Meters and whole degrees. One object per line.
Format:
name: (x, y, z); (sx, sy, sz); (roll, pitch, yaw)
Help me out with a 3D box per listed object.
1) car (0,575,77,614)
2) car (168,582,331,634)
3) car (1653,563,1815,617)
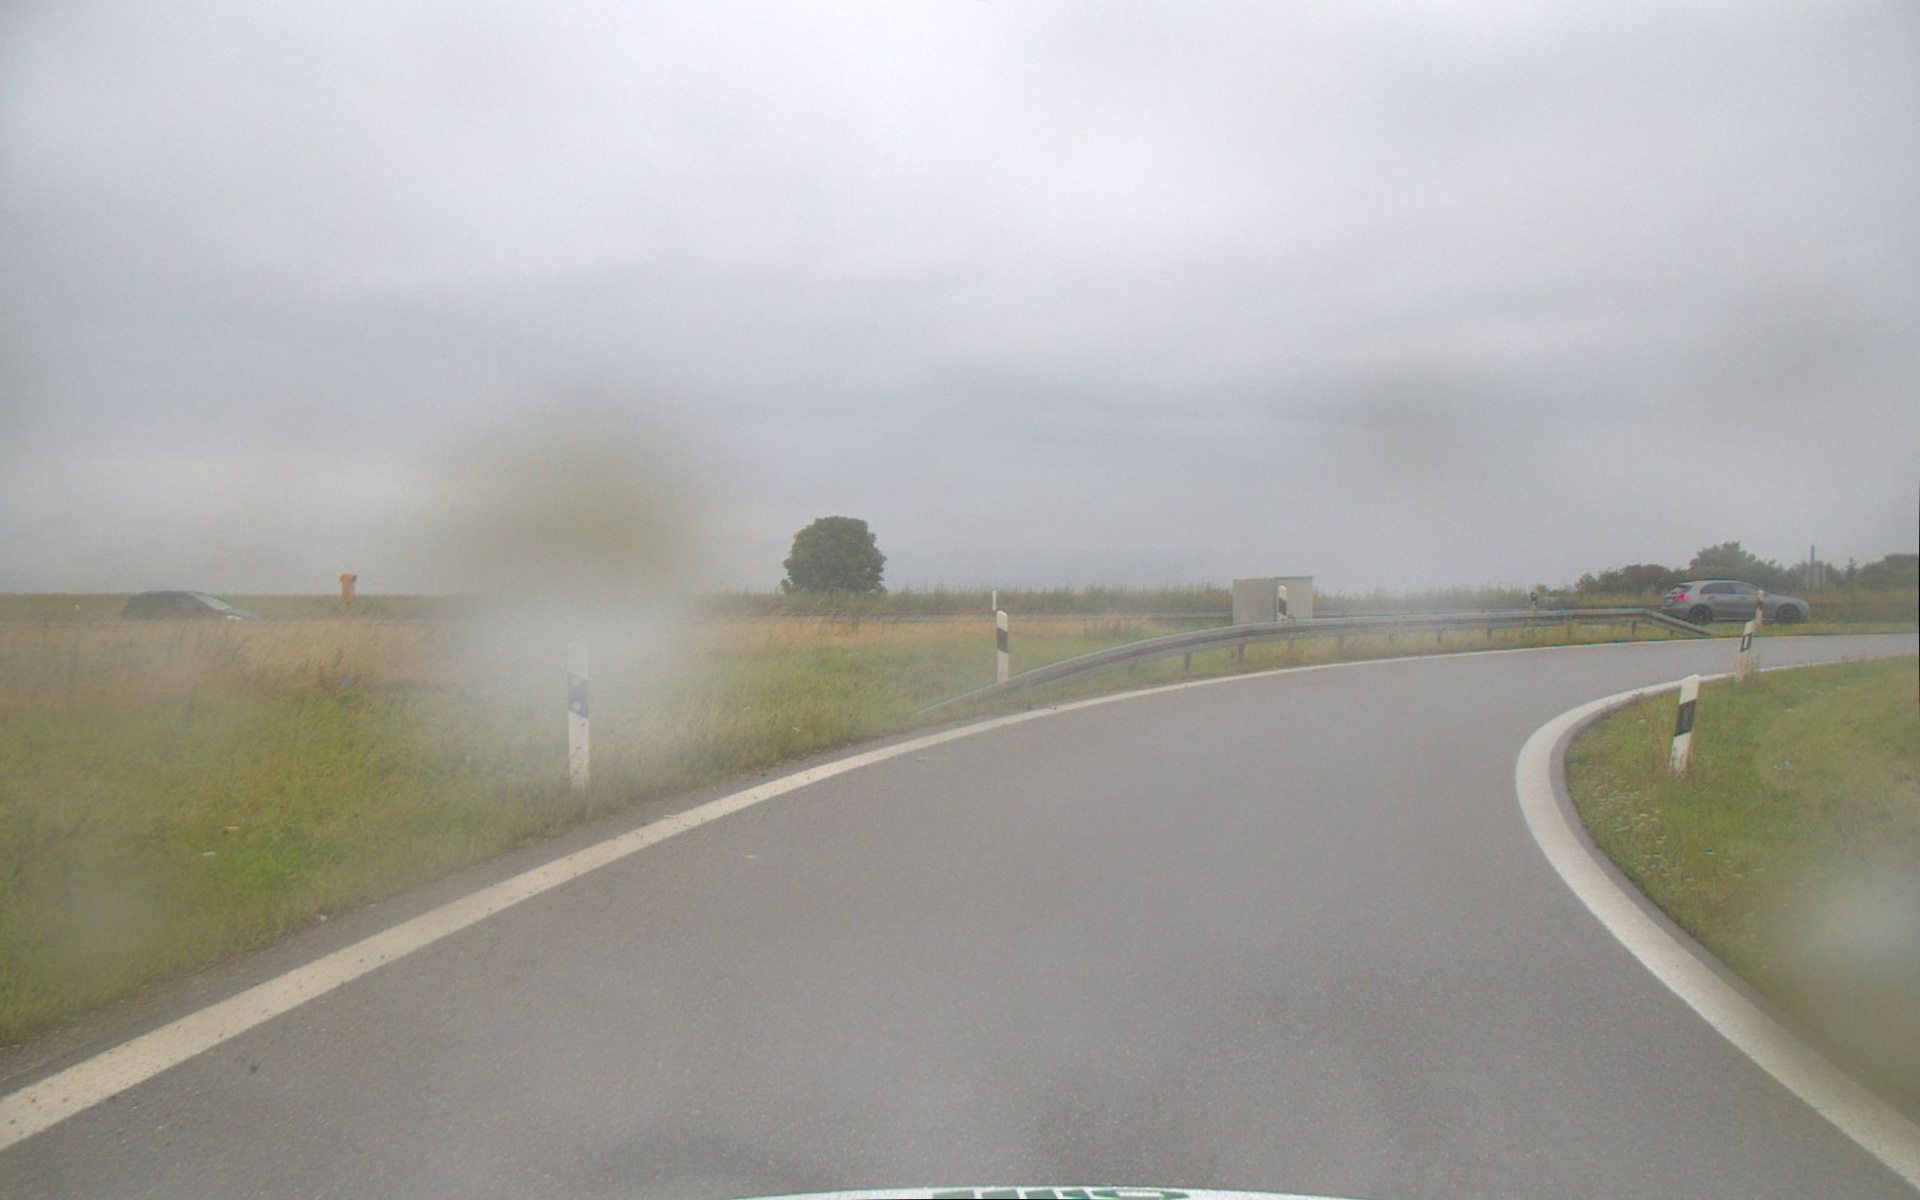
car: (-44.243, -0.251, 78.305); (3.905, 1.767, 1.736); (-1, 1, 1)
car: (-23.531, 0.253, 54.895); (4.483, 1.665, 2.154); (0, 1, 4)
car: (24.692, -0.330, 52.893); (4.243, 1.665, 2.061); (0, 0, 4)
